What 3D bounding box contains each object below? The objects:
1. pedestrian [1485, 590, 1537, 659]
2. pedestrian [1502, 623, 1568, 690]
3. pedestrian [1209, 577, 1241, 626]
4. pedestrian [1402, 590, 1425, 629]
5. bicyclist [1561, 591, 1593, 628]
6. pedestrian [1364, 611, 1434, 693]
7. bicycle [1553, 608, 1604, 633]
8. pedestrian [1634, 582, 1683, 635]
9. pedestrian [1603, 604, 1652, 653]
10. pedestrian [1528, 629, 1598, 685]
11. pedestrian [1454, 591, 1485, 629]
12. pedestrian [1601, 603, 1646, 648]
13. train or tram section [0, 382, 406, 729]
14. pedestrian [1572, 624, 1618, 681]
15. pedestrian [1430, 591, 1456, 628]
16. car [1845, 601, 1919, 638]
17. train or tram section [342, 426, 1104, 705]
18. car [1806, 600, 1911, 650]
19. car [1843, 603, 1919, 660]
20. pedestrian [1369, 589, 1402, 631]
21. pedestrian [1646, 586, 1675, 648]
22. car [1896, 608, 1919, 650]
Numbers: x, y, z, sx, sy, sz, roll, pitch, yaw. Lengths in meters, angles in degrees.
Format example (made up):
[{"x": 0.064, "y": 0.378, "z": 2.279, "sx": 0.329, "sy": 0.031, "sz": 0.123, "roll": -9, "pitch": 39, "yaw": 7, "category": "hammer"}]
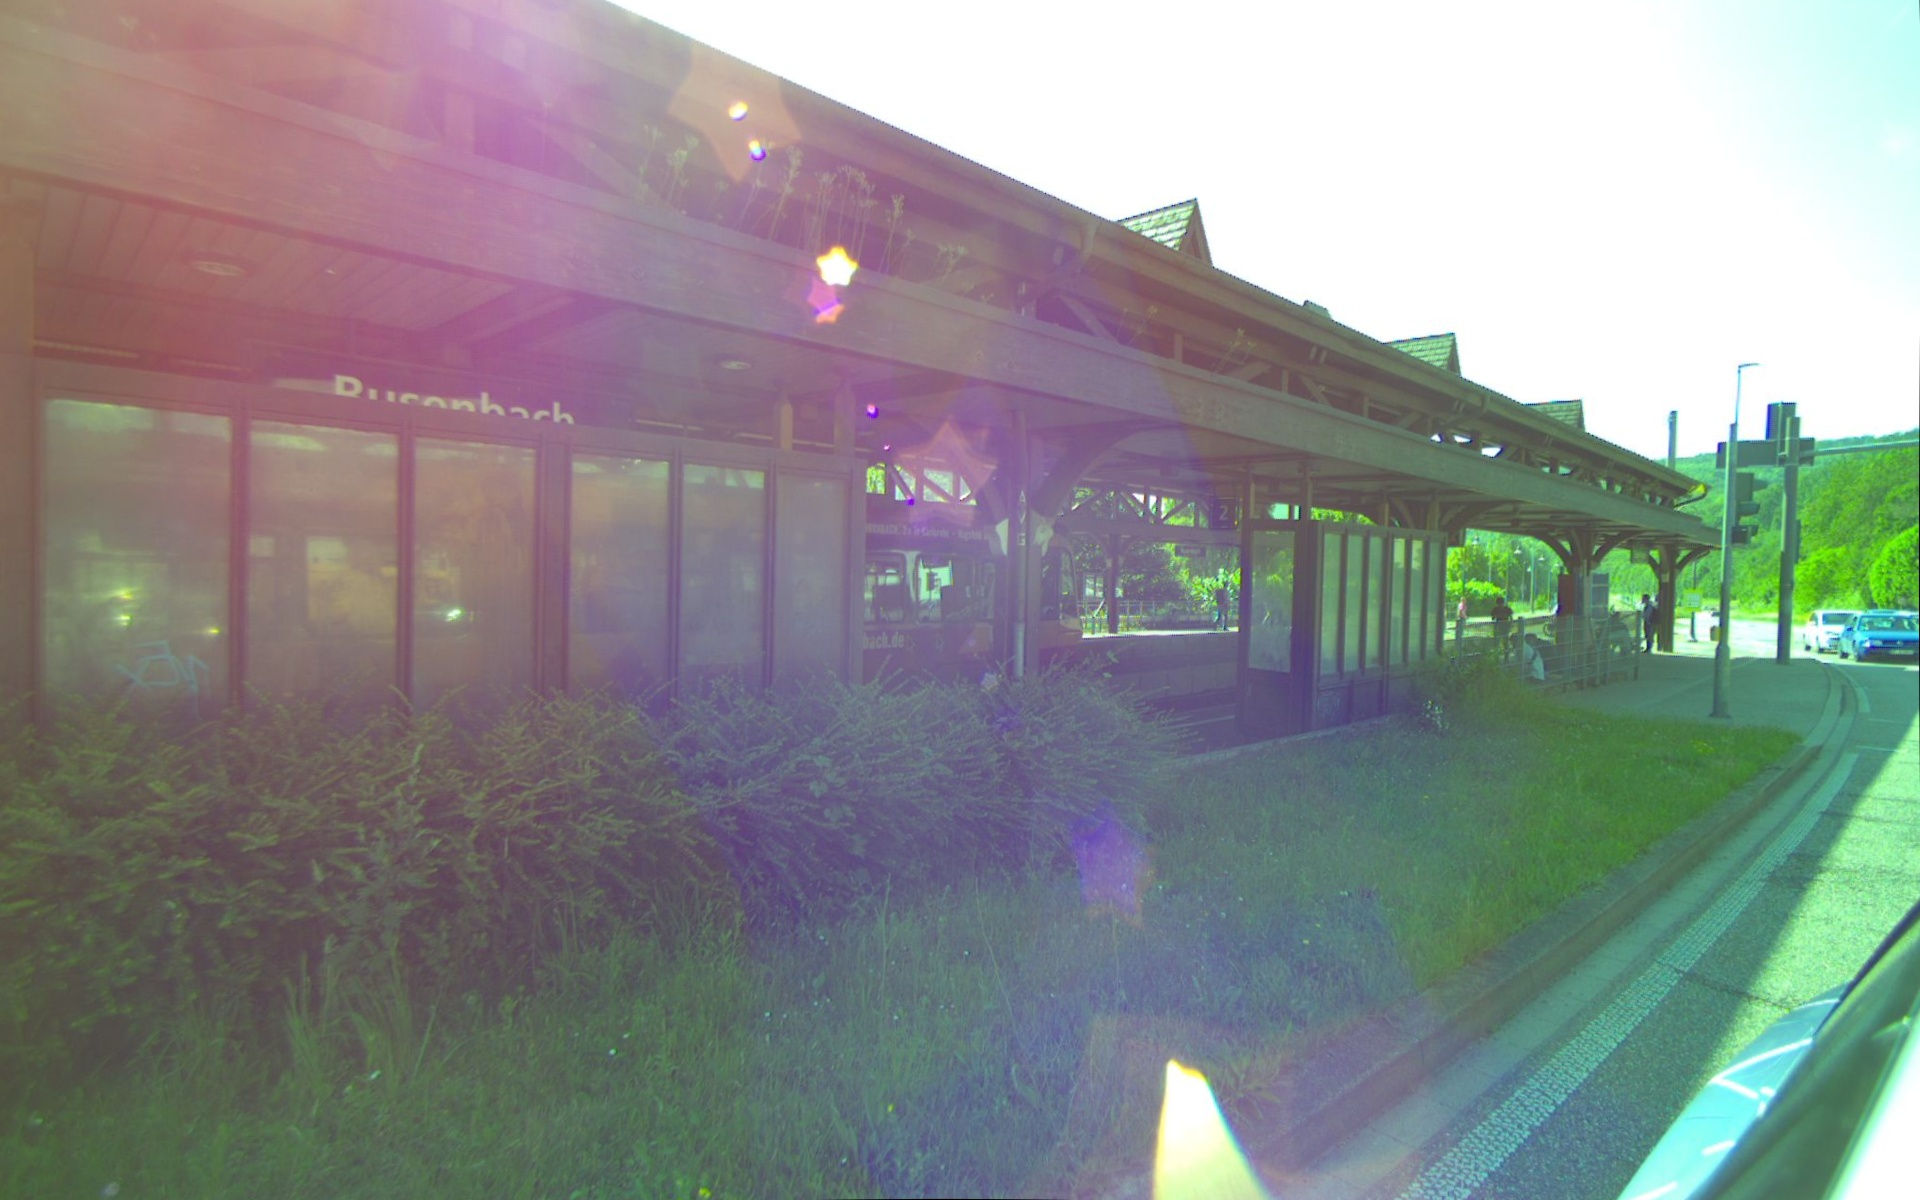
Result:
[{"x": 13.107, "y": 0.572, "z": 24.052, "sx": 0.860, "sy": 1.567, "sz": 0.908, "roll": 1, "pitch": -1, "yaw": 43, "category": "pedestrian"}, {"x": 8.950, "y": 0.866, "z": 15.761, "sx": 0.741, "sy": 0.995, "sz": 0.757, "roll": -1, "pitch": -2, "yaw": 42, "category": "pedestrian"}, {"x": 9.344, "y": 0.062, "z": 35.691, "sx": 0.888, "sy": 1.706, "sz": 0.735, "roll": 2, "pitch": -2, "yaw": -41, "category": "pedestrian"}, {"x": 20.361, "y": 0.434, "z": 45.448, "sx": 0.895, "sy": 1.706, "sz": 0.815, "roll": -1, "pitch": -2, "yaw": 26, "category": "pedestrian"}, {"x": 27.090, "y": 0.414, "z": 44.434, "sx": 0.772, "sy": 1.589, "sz": 0.947, "roll": 0, "pitch": -1, "yaw": -35, "category": "bicyclist"}, {"x": 6.299, "y": 0.727, "z": 14.523, "sx": 0.741, "sy": 1.131, "sz": 0.657, "roll": -1, "pitch": -2, "yaw": 42, "category": "pedestrian"}, {"x": 27.095, "y": 0.895, "z": 44.342, "sx": 0.592, "sy": 1.069, "sz": 1.813, "roll": 0, "pitch": -1, "yaw": -36, "category": "bicycle"}, {"x": 23.694, "y": 0.308, "z": 34.348, "sx": 0.902, "sy": 1.759, "sz": 1.247, "roll": 0, "pitch": -2, "yaw": 10, "category": "pedestrian"}, {"x": 17.297, "y": 0.742, "z": 26.226, "sx": 0.988, "sy": 1.252, "sz": 0.589, "roll": -3, "pitch": -3, "yaw": 36, "category": "pedestrian"}, {"x": 9.993, "y": 0.925, "z": 16.770, "sx": 0.844, "sy": 0.885, "sz": 0.795, "roll": -1, "pitch": -2, "yaw": 42, "category": "pedestrian"}, {"x": 22.729, "y": 0.457, "z": 45.169, "sx": 0.805, "sy": 1.706, "sz": 0.905, "roll": 1, "pitch": -2, "yaw": -17, "category": "pedestrian"}, {"x": 17.901, "y": 0.679, "z": 27.297, "sx": 1.003, "sy": 1.174, "sz": 0.937, "roll": 1, "pitch": 0, "yaw": 36, "category": "pedestrian"}, {"x": -12.050, "y": -0.411, "z": 9.385, "sx": 11.844, "sy": 3.407, "sz": 2.789, "roll": -1, "pitch": -1, "yaw": -43, "category": "train or tram section"}, {"x": 11.129, "y": 0.909, "z": 17.744, "sx": 0.616, "sy": 0.978, "sz": 0.400, "roll": -1, "pitch": -2, "yaw": 42, "category": "pedestrian"}, {"x": 22.155, "y": 0.444, "z": 46.431, "sx": 0.864, "sy": 1.706, "sz": 0.810, "roll": -1, "pitch": -2, "yaw": 42, "category": "pedestrian"}, {"x": 40.176, "y": 0.837, "z": 43.944, "sx": 1.965, "sy": 1.523, "sz": 3.941, "roll": 0, "pitch": -1, "yaw": 31, "category": "car"}, {"x": -2.820, "y": -0.435, "z": 18.395, "sx": 14.119, "sy": 3.407, "sz": 2.857, "roll": 0, "pitch": 0, "yaw": -45, "category": "train or tram section"}, {"x": 31.136, "y": 0.838, "z": 35.188, "sx": 1.984, "sy": 1.605, "sz": 3.955, "roll": -1, "pitch": -1, "yaw": 31, "category": "car"}, {"x": 27.273, "y": 0.879, "z": 29.373, "sx": 1.853, "sy": 1.501, "sz": 4.251, "roll": 1, "pitch": 1, "yaw": 33, "category": "car"}, {"x": 19.167, "y": 0.455, "z": 45.600, "sx": 1.054, "sy": 1.867, "sz": 0.989, "roll": 3, "pitch": -2, "yaw": -41, "category": "pedestrian"}, {"x": 20.009, "y": 0.477, "z": 28.908, "sx": 0.655, "sy": 1.713, "sz": 0.730, "roll": 1, "pitch": 0, "yaw": 35, "category": "pedestrian"}, {"x": 36.106, "y": 1.069, "z": 36.902, "sx": 1.965, "sy": 1.523, "sz": 4.697, "roll": 0, "pitch": -1, "yaw": 31, "category": "car"}]
